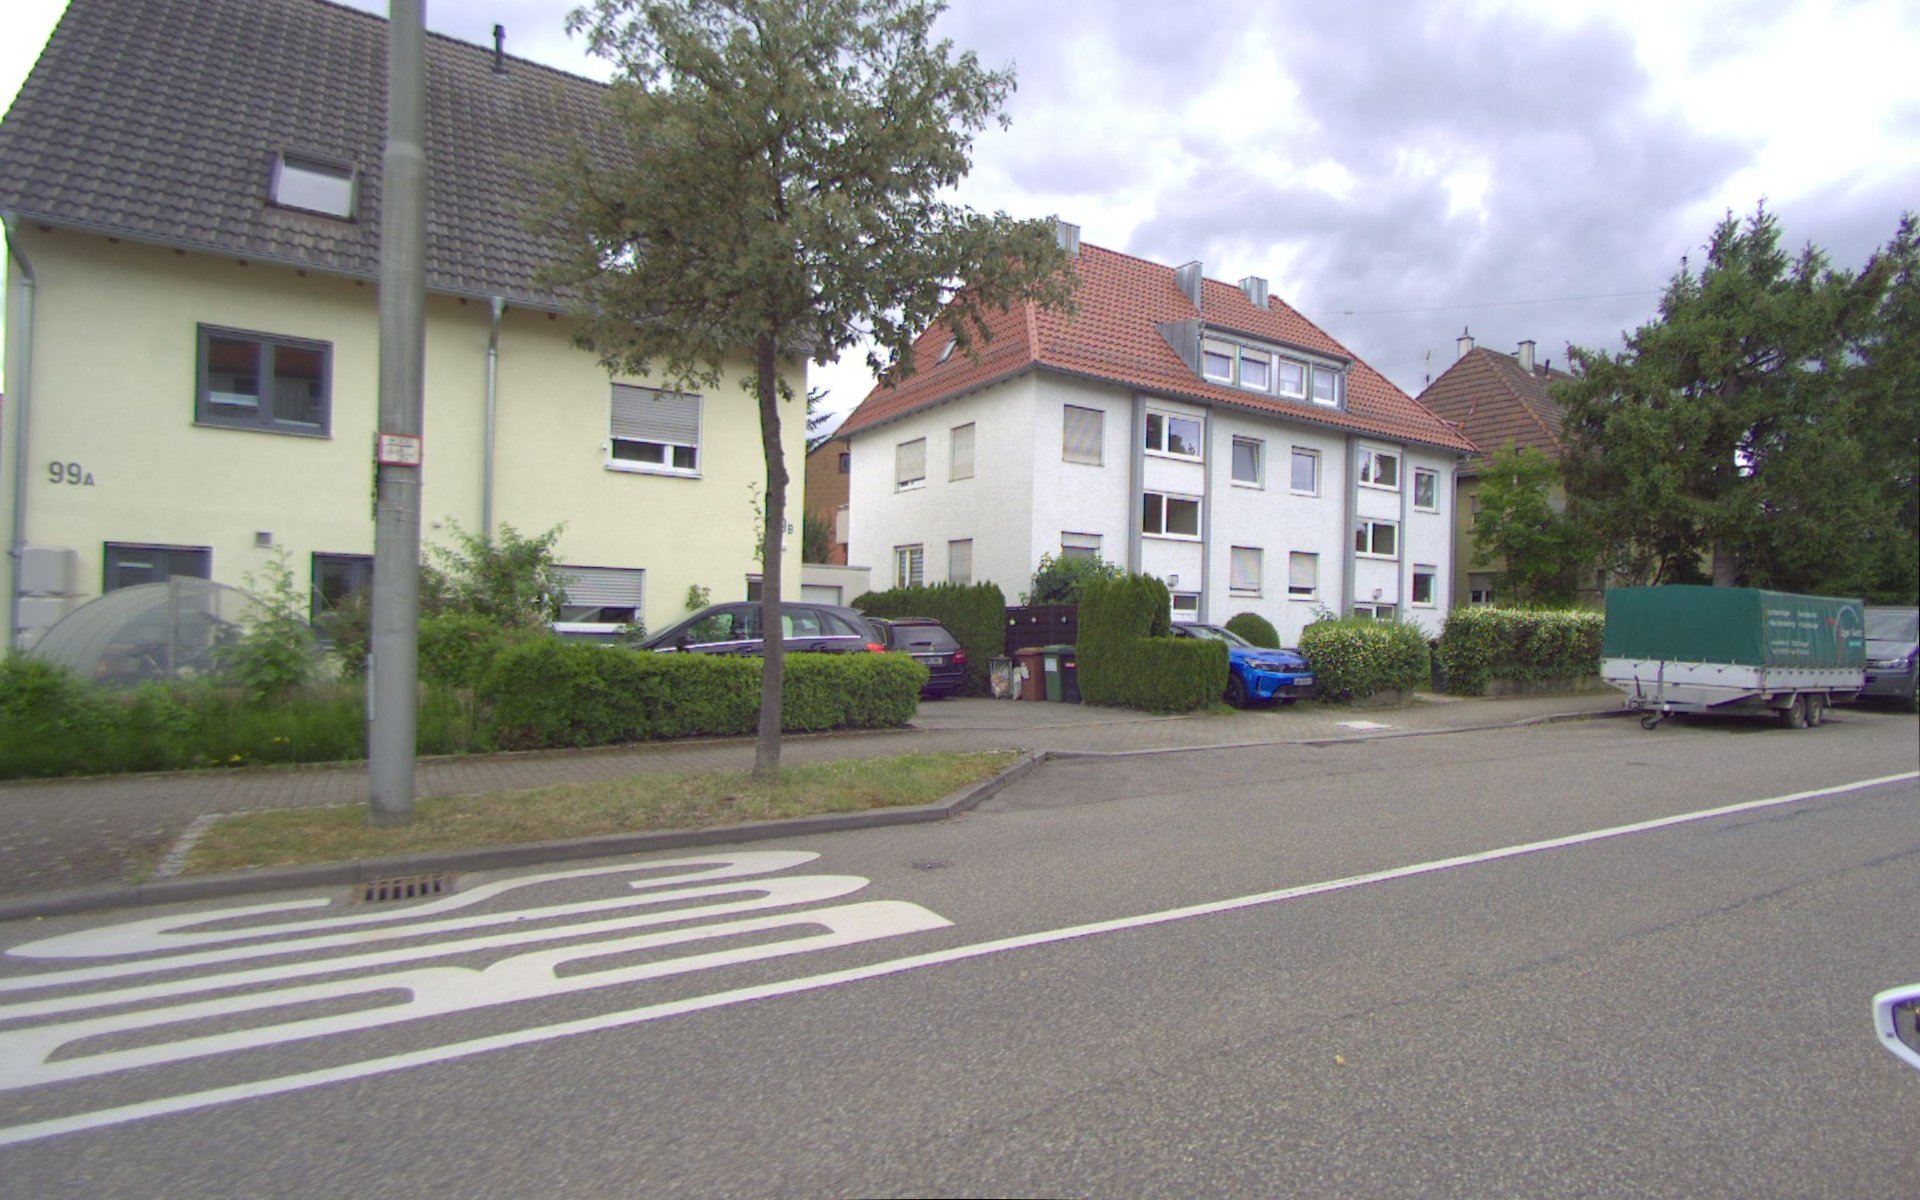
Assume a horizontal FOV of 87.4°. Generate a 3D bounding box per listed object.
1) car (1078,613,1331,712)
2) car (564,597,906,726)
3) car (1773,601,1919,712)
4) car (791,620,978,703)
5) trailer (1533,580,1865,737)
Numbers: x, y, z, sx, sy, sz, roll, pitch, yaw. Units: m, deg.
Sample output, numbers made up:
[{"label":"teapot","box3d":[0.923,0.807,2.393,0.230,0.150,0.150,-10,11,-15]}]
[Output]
[{"label":"car","box3d":[3.963,0.974,16.804,1.565,1.356,3.953,3,-1,-40]},{"label":"car","box3d":[-2.875,0.750,12.936,3.950,1.436,1.870,2,-1,-28]},{"label":"car","box3d":[18.149,1.077,19.839,4.512,1.947,1.877,2,0,-32]},{"label":"car","box3d":[-1.508,1.074,18.707,1.825,1.358,3.965,1,-2,-33]},{"label":"trailer","box3d":[11.909,0.867,16.054,5.809,2.114,2.299,2,0,-32]}]
